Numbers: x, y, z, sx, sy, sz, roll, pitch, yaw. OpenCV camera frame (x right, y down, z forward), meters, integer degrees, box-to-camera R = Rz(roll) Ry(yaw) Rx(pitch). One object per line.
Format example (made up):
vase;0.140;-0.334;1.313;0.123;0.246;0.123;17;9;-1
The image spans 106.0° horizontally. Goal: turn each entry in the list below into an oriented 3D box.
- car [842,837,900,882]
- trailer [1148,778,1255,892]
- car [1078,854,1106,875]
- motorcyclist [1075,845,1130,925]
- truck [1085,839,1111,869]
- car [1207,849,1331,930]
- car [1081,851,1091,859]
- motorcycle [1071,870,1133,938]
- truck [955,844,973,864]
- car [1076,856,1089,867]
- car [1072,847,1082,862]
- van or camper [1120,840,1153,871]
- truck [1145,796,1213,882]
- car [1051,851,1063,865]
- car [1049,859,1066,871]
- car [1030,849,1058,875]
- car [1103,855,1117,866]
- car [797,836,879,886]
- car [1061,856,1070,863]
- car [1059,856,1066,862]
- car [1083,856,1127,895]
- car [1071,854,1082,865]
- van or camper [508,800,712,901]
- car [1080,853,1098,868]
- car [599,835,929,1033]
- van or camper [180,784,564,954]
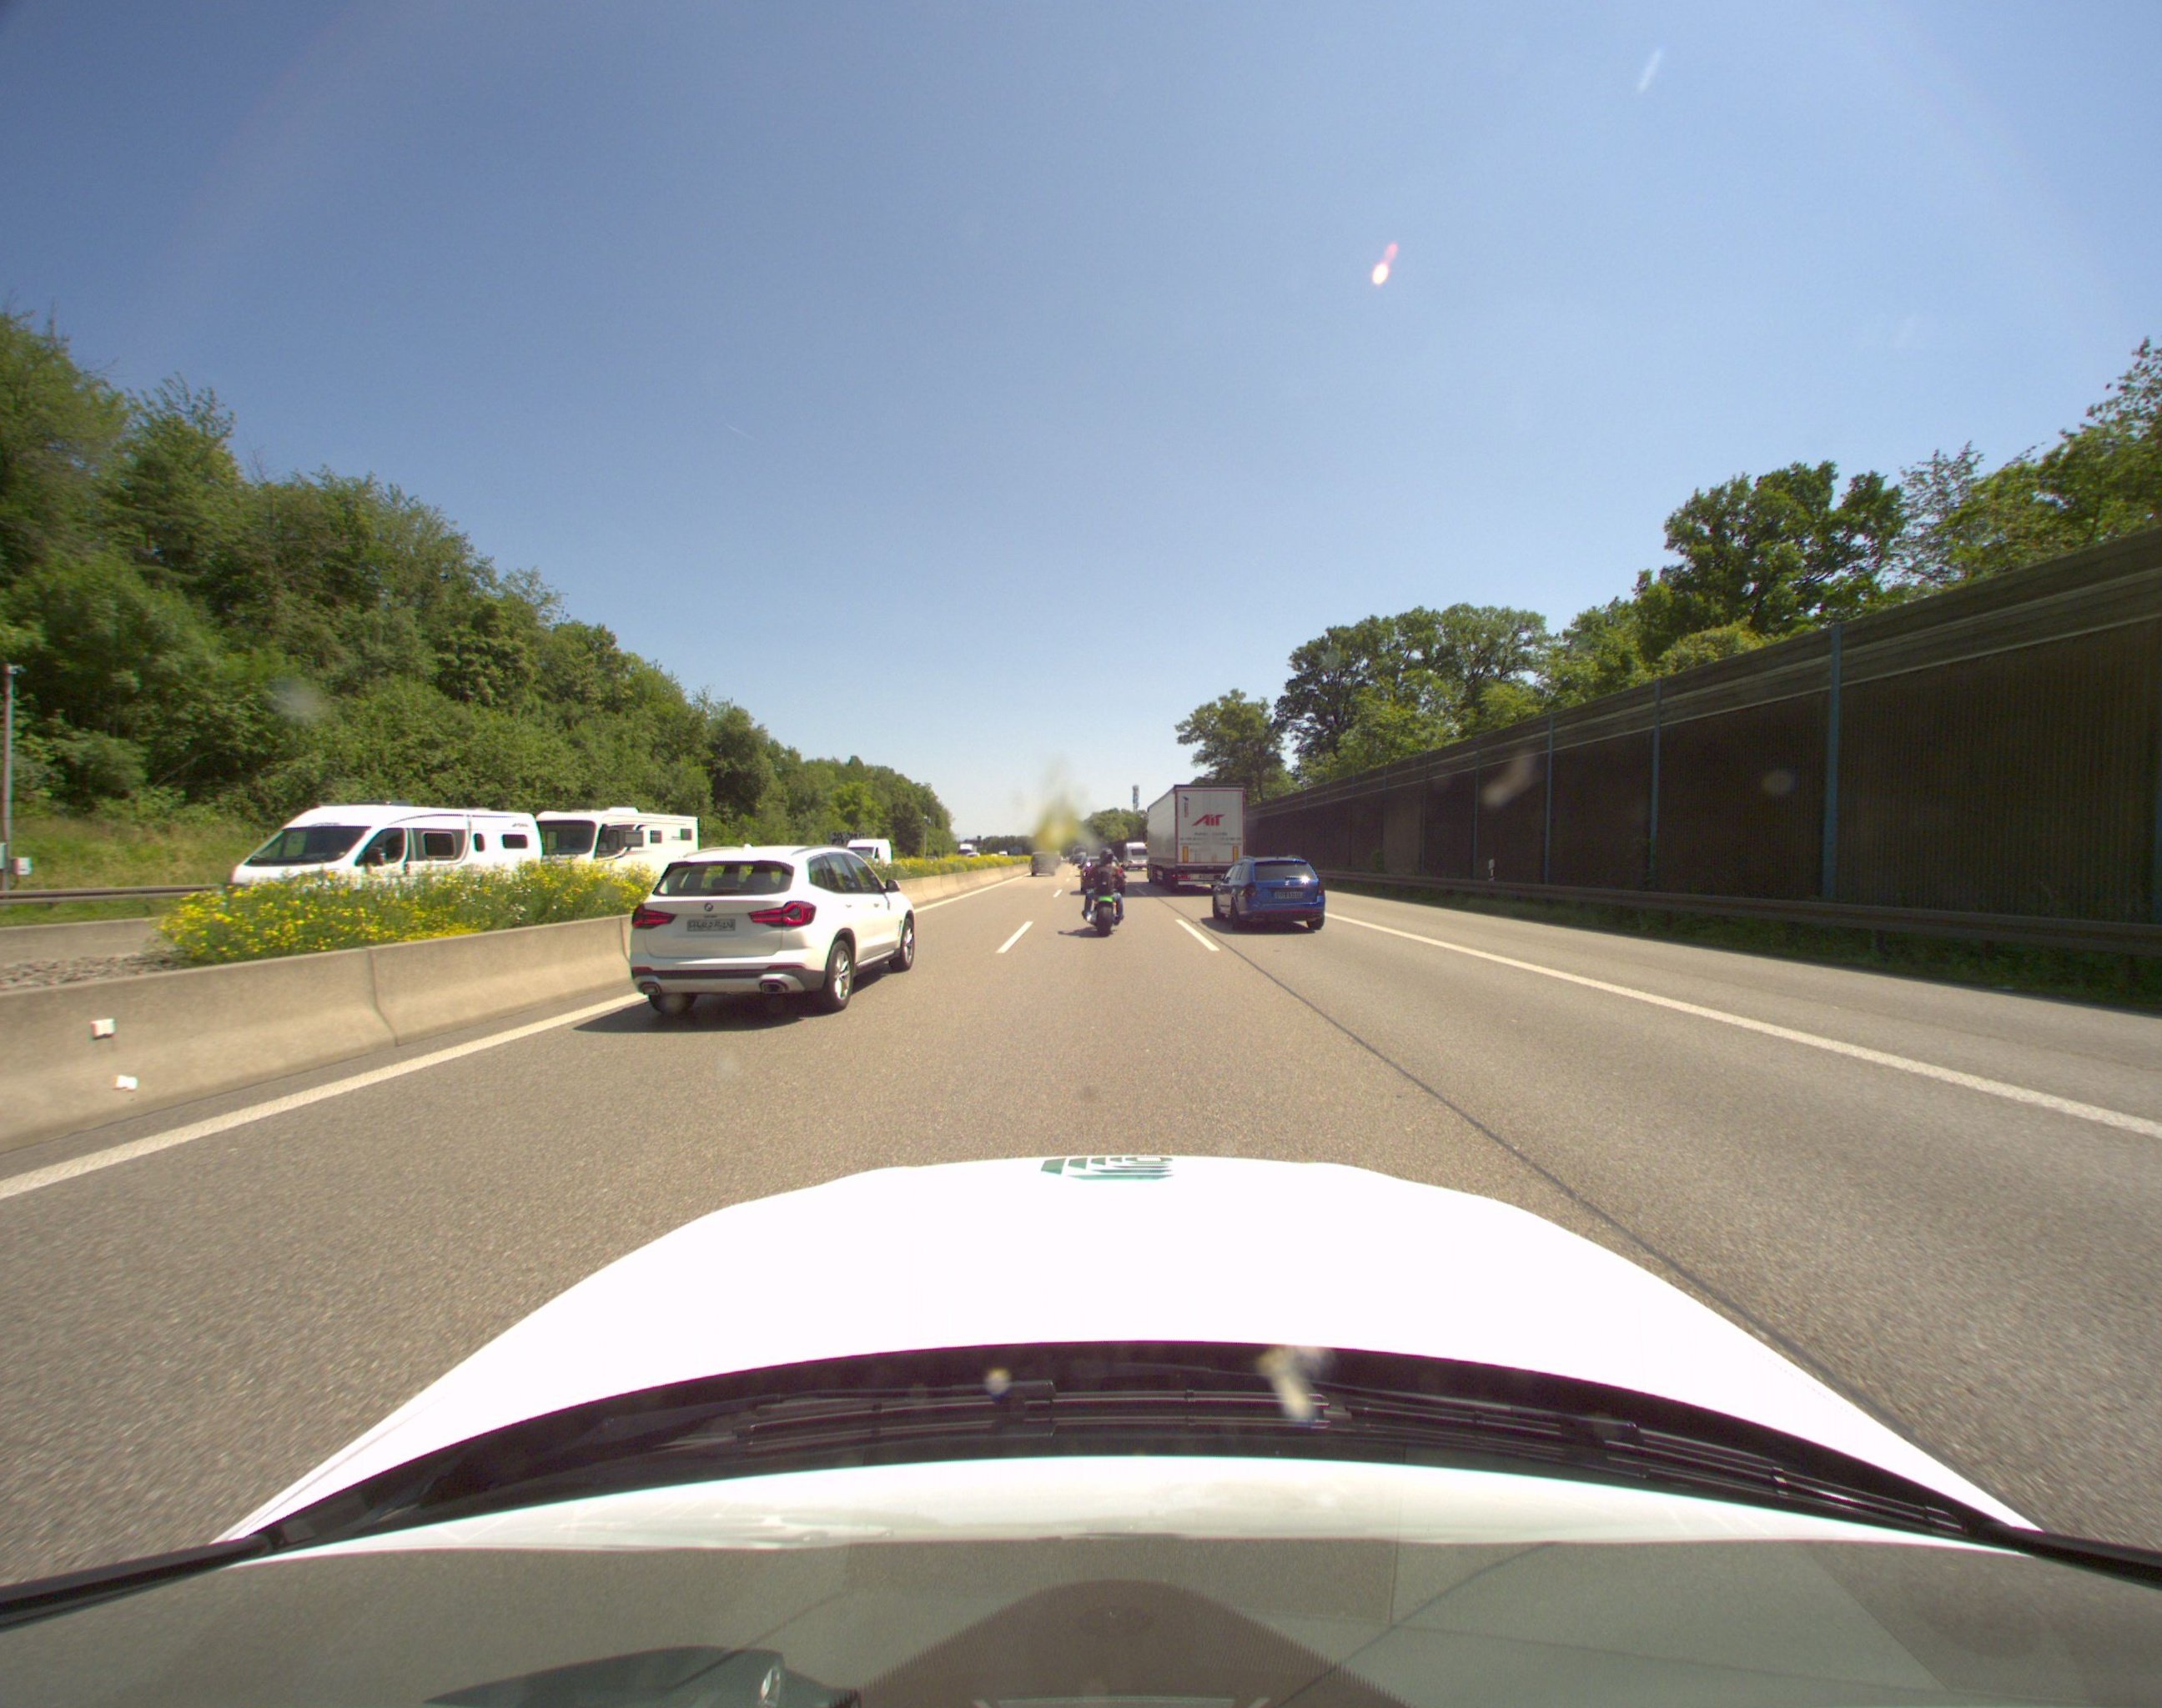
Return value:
car;-13.807;0.341;53.916;2.193;2.741;5.747;-1;0;1
trailer;4.874;-0.645;36.087;2.875;4.038;13.796;-1;0;1
car;0.769;0.790;60.112;1.987;1.430;3.845;-1;-1;-1
motorcyclist;0.454;0.596;15.964;0.895;1.475;1.875;-1;-1;7
truck;2.931;0.062;144.571;3.795;4.960;8.937;-1;-1;-4
car;3.865;0.715;17.519;1.645;1.483;4.481;-1;-1;0
car;1.161;0.323;195.585;2.103;1.876;3.996;-1;-1;-3
motorcycle;0.466;0.924;15.945;0.959;1.148;2.817;0;0;6
truck;-24.573;0.045;171.651;2.956;4.107;6.083;-1;-1;-2
car;0.195;1.126;122.645;1.988;1.640;3.998;-1;-1;-1
car;-1.125;0.199;214.675;2.128;3.862;8.133;0;0;-3
van or camper;5.156;0.197;77.007;2.676;2.813;6.802;-1;-1;1
truck;5.012;-0.709;42.600;2.876;4.146;5.986;-1;0;1
car;-3.583;0.565;122.638;1.786;2.014;3.639;-1;-1;-1
car;-2.853;1.327;100.268;1.988;1.387;3.998;-1;-1;-1
car;-2.801;0.627;62.402;1.893;1.874;4.412;-1;-1;0
car;4.428;0.988;125.609;1.987;1.574;3.998;-1;-1;-1
car;-9.906;0.267;33.544;1.985;1.926;4.003;0;0;3
car;-3.446;1.169;178.376;1.826;1.496;3.743;-1;-1;1
car;-4.959;1.405;220.165;1.828;1.496;3.739;-1;-1;-3
car;0.959;0.858;33.113;1.657;1.453;3.869;-1;-1;1
car;-0.834;1.096;153.510;1.907;2.014;3.686;-1;-1;-3
van or camper;-17.688;-0.015;31.593;2.531;3.317;9.003;-1;-1;1
car;0.873;0.640;86.244;1.773;1.552;3.585;0;0;1
car;-3.227;0.710;9.586;1.857;1.694;4.956;-1;0;1
van or camper;-14.281;0.267;17.276;2.249;2.899;6.559;-1;0;2
